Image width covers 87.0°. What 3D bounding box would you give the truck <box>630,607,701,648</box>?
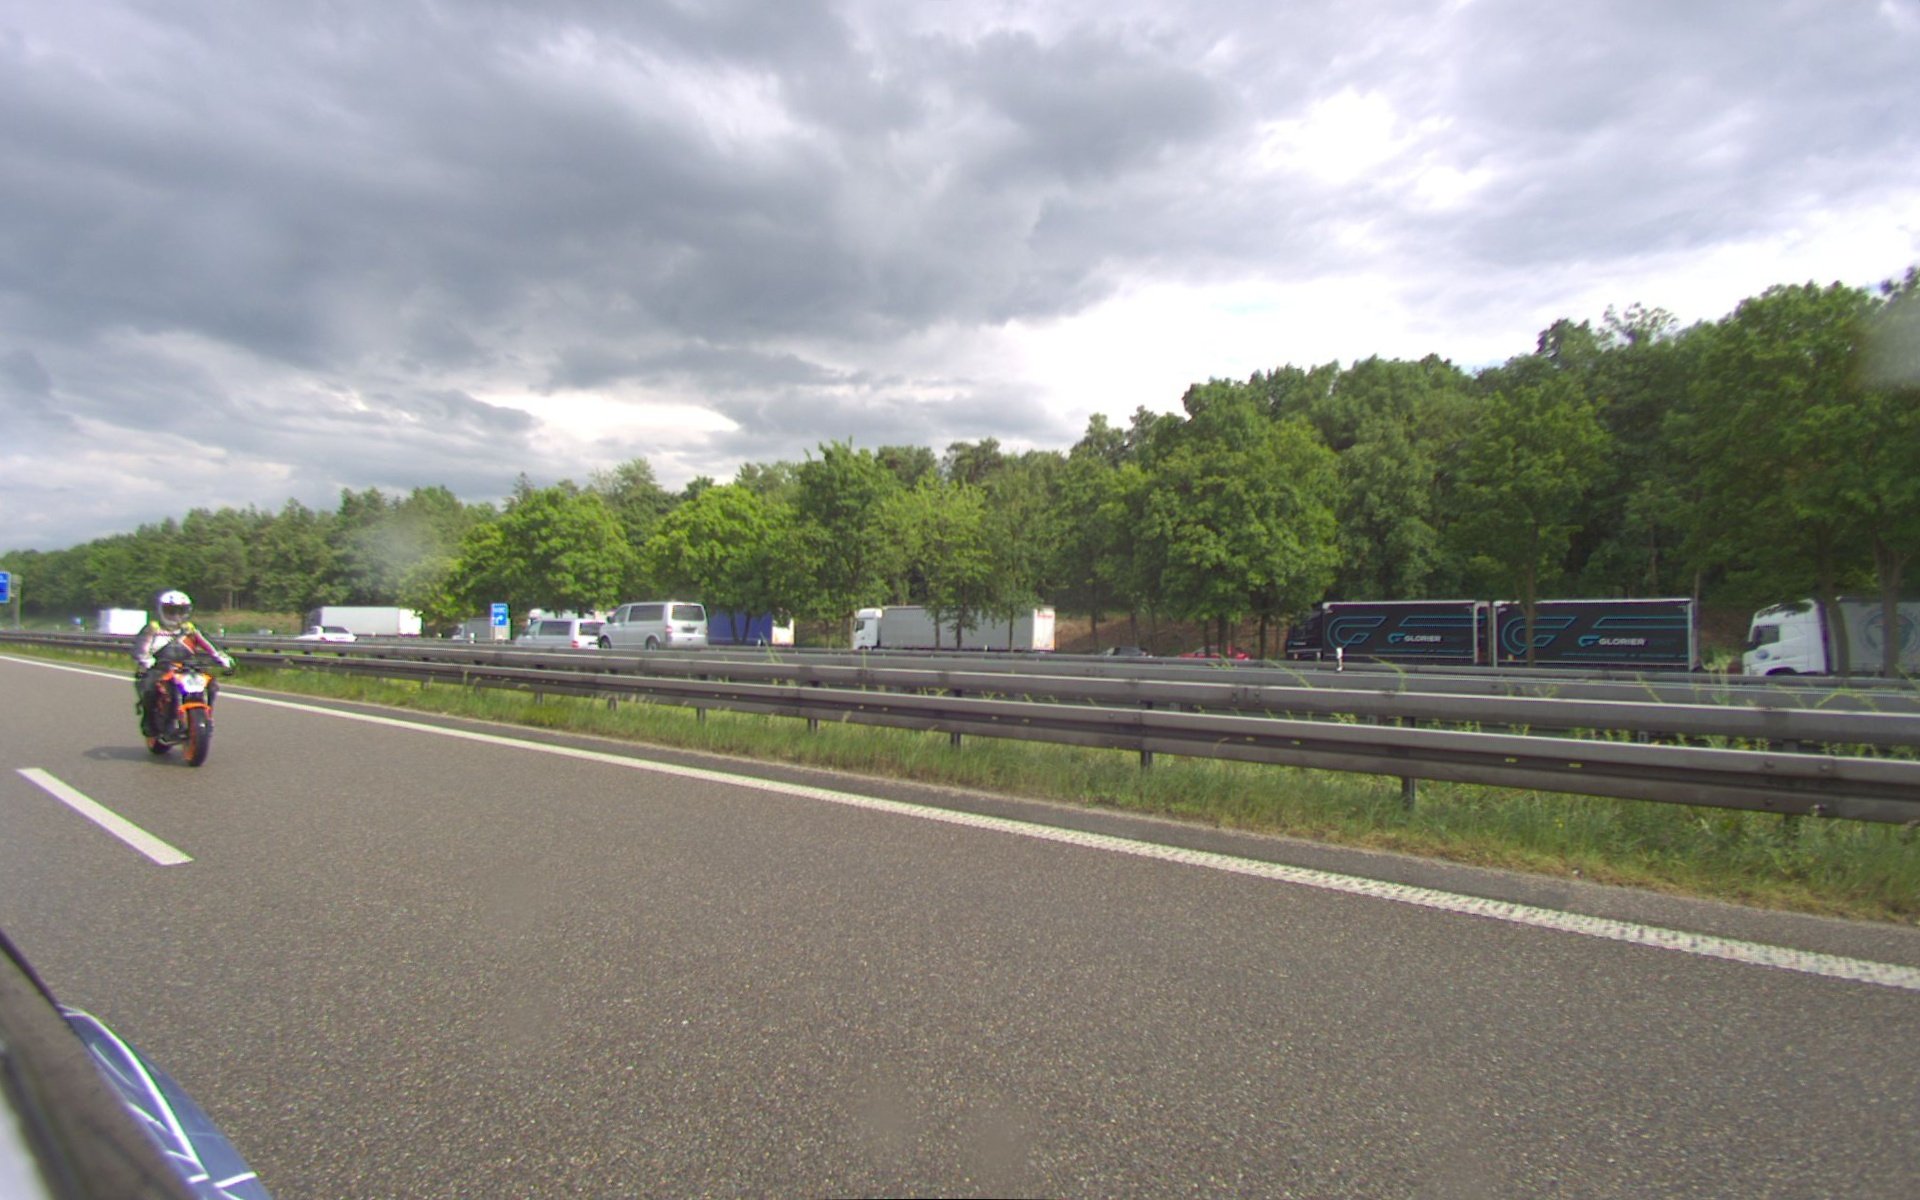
[{"bbox_3d":[-25.816,2.390,88.718,5.880,3.482,2.837,-1,0,33],"label":"truck"}]

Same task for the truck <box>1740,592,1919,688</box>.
[{"bbox_3d":[36.156,1.504,40.703,7.351,3.616,3.748,-1,0,41],"label":"truck"}]

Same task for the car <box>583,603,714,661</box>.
[{"bbox_3d":[-11.264,1.094,36.394,5.256,1.905,2.026,-1,0,40],"label":"car"}]

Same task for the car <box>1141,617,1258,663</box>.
[{"bbox_3d":[14.181,2.322,60.170,6.207,2.501,2.764,-1,0,41],"label":"car"}]

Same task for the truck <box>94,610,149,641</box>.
[{"bbox_3d":[-77.663,2.330,93.686,7.188,2.702,2.813,-1,0,41],"label":"truck"}]

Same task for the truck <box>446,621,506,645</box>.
[{"bbox_3d":[-49.119,3.336,102.635,6.288,2.282,2.105,-1,-1,28],"label":"truck"}]

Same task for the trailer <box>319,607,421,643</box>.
[{"bbox_3d":[-64.103,2.726,109.844,12.504,3.767,3.185,-1,-2,27],"label":"trailer"}]

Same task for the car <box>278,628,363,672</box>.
[{"bbox_3d":[-30.926,2.344,48.868,5.256,1.905,2.026,-1,0,40],"label":"car"}]

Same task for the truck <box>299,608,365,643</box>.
[{"bbox_3d":[-69.974,2.777,112.759,6.880,3.732,3.189,-1,0,26],"label":"truck"}]

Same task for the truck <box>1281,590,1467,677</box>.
[{"bbox_3d":[21.959,1.657,54.002,8.413,4.266,3.748,-1,0,41],"label":"truck"}]

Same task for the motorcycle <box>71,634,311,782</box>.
[{"bbox_3d":[-7.982,1.009,10.430,3.189,1.235,1.174,-1,0,37],"label":"motorcycle"}]

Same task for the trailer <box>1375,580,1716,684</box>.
[{"bbox_3d":[27.750,1.517,48.943,13.796,4.439,3.749,-1,-2,42],"label":"trailer"}]

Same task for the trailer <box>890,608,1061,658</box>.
[{"bbox_3d":[0.845,2.259,70.279,12.458,3.241,3.315,-1,-2,38],"label":"trailer"}]

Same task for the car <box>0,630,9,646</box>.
[{"bbox_3d":[-118.720,4.652,124.269,4.776,1.905,2.277,-1,0,40],"label":"car"}]

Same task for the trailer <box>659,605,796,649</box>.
[{"bbox_3d":[-19.588,2.273,84.544,13.388,3.431,2.800,-1,-2,34],"label":"trailer"}]

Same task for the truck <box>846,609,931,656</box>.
[{"bbox_3d":[-5.312,2.325,75.148,5.498,3.298,3.322,-1,0,37],"label":"truck"}]

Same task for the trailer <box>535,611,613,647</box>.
[{"bbox_3d":[-36.315,2.667,95.108,7.712,3.257,2.560,-1,-2,31],"label":"trailer"}]

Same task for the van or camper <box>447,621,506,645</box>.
[{"bbox_3d":[-49.006,3.334,102.495,6.292,2.282,2.105,-1,-1,28],"label":"van or camper"}]

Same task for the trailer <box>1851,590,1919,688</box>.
[{"bbox_3d":[41.003,1.429,36.376,13.340,3.677,3.749,-1,-2,42],"label":"trailer"}]

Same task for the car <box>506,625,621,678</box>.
[{"bbox_3d":[-15.873,2.001,40.351,5.256,1.905,2.026,-1,0,40],"label":"car"}]

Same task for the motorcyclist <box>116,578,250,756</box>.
[{"bbox_3d":[-7.985,0.648,10.408,0.999,1.719,0.872,-1,0,38],"label":"motorcyclist"}]

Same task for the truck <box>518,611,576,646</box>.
[{"bbox_3d":[-39.618,2.717,96.980,5.066,3.292,2.636,-1,0,30],"label":"truck"}]
